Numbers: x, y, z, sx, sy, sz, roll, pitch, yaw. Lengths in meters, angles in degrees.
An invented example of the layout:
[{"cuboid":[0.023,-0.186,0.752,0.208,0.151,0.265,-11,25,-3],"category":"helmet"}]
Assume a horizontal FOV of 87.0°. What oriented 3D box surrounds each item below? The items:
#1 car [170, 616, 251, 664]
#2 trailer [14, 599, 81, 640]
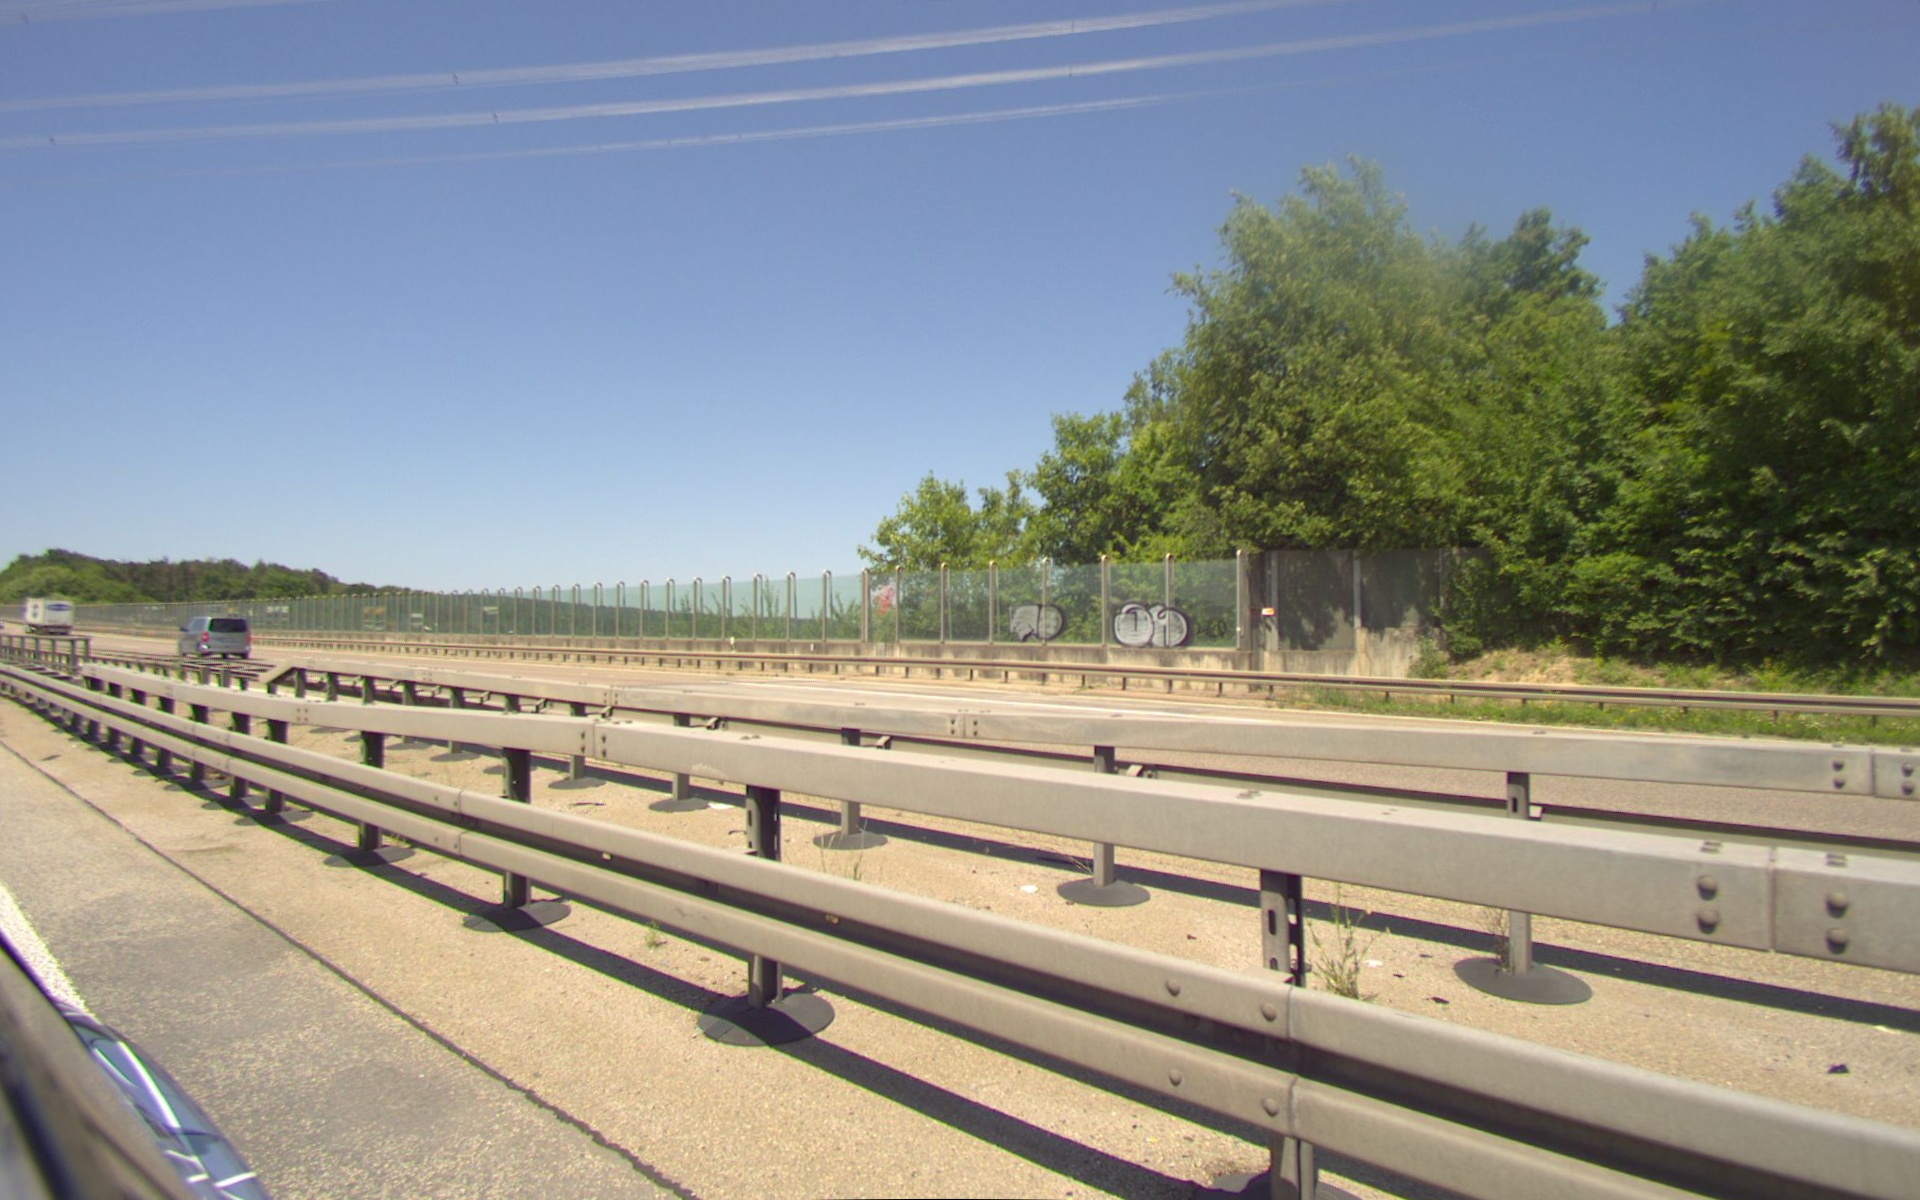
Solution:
[{"cuboid":[-33.914,1.748,45.736,4.895,1.955,1.973,0,1,42],"category":"car"},{"cuboid":[-102.289,2.237,113.322,14.034,4.268,3.947,-1,-3,42],"category":"trailer"}]
